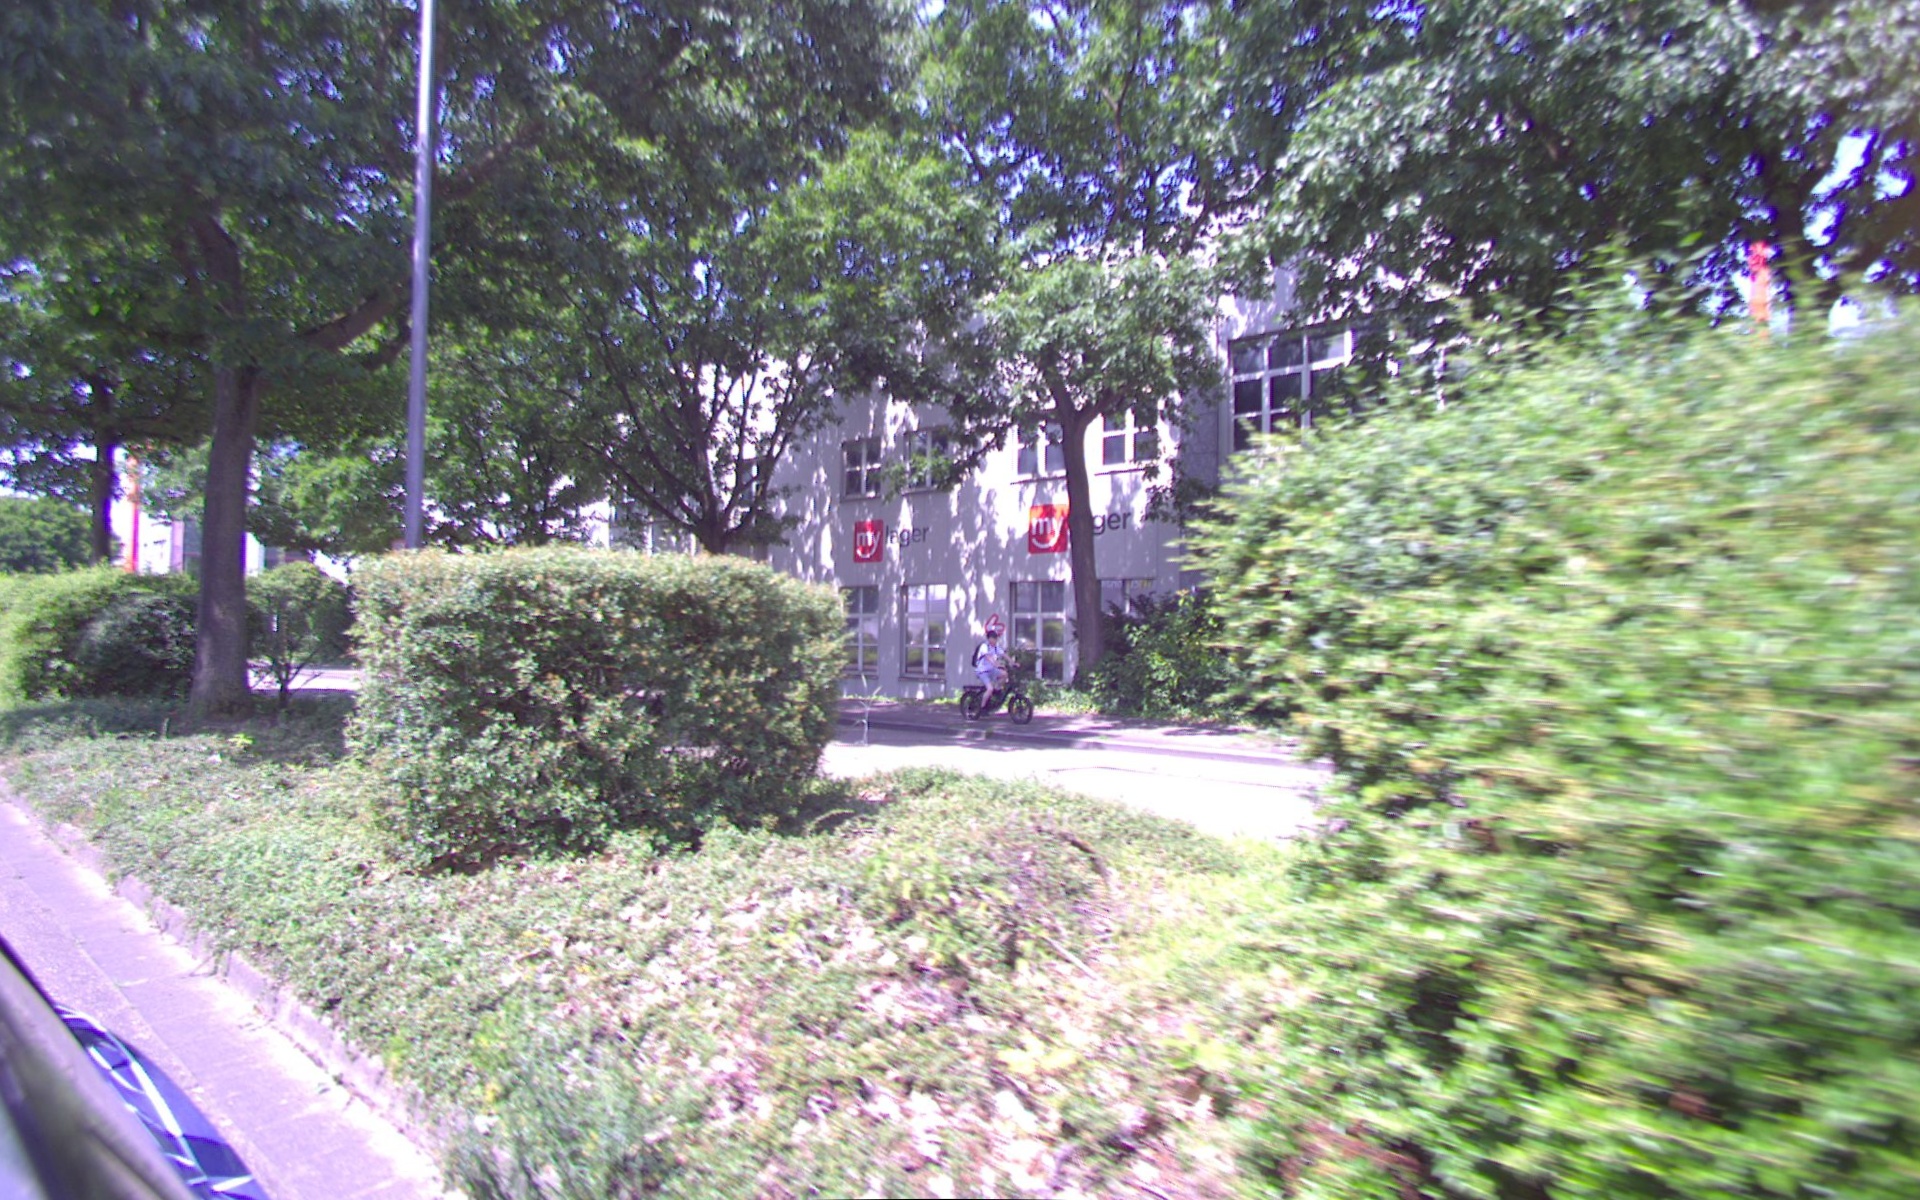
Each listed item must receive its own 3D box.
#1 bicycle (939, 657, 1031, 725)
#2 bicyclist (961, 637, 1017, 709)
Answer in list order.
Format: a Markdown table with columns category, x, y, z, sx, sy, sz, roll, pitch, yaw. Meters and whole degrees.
| category | x | y | z | sx | sy | sz | roll | pitch | yaw |
| --- | --- | --- | --- | --- | --- | --- | --- | --- | --- |
| bicycle | 0.438 | 1.645 | 18.588 | 1.760 | 1.128 | 0.516 | 0 | -1 | 41 |
| bicyclist | 0.536 | 1.315 | 18.534 | 0.812 | 1.262 | 0.637 | -1 | -1 | 40 |
